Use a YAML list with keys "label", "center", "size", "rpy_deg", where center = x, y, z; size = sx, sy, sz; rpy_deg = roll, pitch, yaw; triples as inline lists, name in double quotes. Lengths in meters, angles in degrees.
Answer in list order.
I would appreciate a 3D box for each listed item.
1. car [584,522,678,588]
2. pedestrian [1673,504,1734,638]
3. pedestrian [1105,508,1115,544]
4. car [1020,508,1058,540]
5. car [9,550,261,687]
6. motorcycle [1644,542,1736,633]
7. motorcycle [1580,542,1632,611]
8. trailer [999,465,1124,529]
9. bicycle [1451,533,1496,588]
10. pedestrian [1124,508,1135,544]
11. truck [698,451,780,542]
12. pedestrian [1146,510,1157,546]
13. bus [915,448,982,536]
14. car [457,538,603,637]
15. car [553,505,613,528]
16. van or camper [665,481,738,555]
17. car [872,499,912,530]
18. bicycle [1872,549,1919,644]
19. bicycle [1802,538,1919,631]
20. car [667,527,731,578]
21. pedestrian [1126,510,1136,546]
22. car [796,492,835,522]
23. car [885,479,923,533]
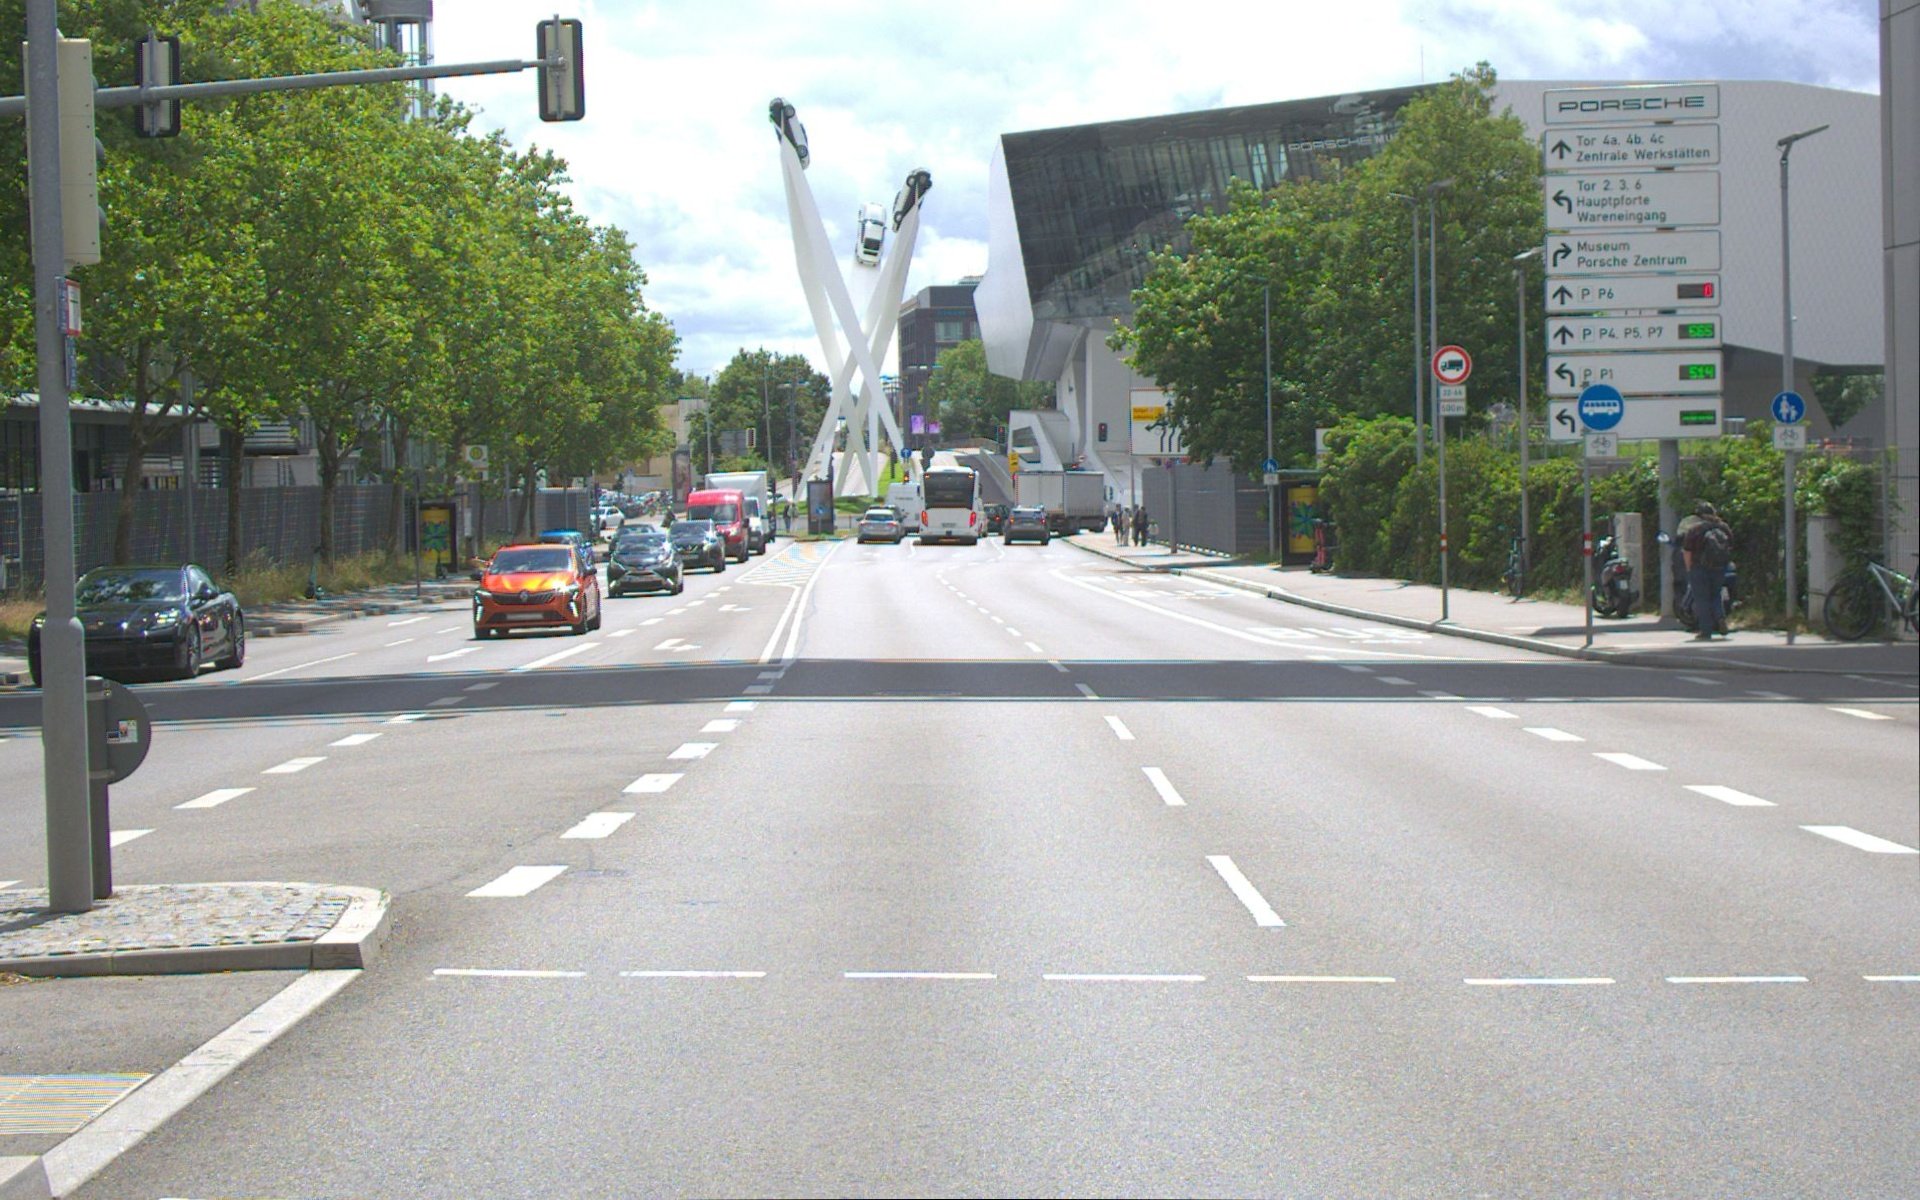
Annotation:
- label: "car"
  center: [-7.635, -1.071, 80.000]
  size: [1.769, 1.415, 3.701]
  rpy_deg: [-3, 1, 0]
- label: "pedestrian"
  center: [9.150, -0.356, 42.339]
  size: [0.533, 1.635, 0.658]
  rpy_deg: [1, 0, -6]
- label: "pedestrian"
  center: [5.976, -2.950, 137.121]
  size: [0.386, 1.416, 0.423]
  rpy_deg: [1, 0, 0]
- label: "car"
  center: [3.352, -3.248, 146.149]
  size: [1.557, 1.269, 3.701]
  rpy_deg: [-3, 1, 1]
- label: "car"
  center: [-10.219, 0.184, 42.952]
  size: [1.917, 1.483, 4.772]
  rpy_deg: [-3, 1, 0]
- label: "motorcycle"
  center: [9.549, -0.175, 45.031]
  size: [0.418, 1.162, 1.957]
  rpy_deg: [1, 1, -11]
- label: "motorcycle"
  center: [9.768, -0.355, 52.014]
  size: [0.457, 1.019, 1.912]
  rpy_deg: [1, 1, 1]
- label: "trailer"
  center: [5.160, -5.111, 172.100]
  size: [3.322, 2.984, 10.366]
  rpy_deg: [1, 1, 19]
- label: "bicycle"
  center: [9.741, -0.753, 65.272]
  size: [0.418, 1.019, 1.913]
  rpy_deg: [1, 1, -5]
- label: "pedestrian"
  center: [6.727, -2.947, 136.297]
  size: [0.386, 1.416, 0.423]
  rpy_deg: [1, 0, 0]
- label: "truck"
  center: [-8.380, -3.888, 130.846]
  size: [2.591, 3.312, 7.079]
  rpy_deg: [1, 1, 0]
- label: "pedestrian"
  center: [7.512, -2.822, 134.688]
  size: [0.386, 1.416, 0.423]
  rpy_deg: [1, 0, 0]
- label: "bus"
  center: [-0.480, -4.672, 149.973]
  size: [2.787, 3.673, 6.943]
  rpy_deg: [1, 1, 0]
- label: "car"
  center: [-6.751, -0.220, 54.265]
  size: [1.769, 1.415, 3.701]
  rpy_deg: [-3, 1, 0]
- label: "car"
  center: [-24.344, -5.398, 222.081]
  size: [1.561, 1.269, 3.692]
  rpy_deg: [-1, 2, 44]
- label: "van or camper"
  center: [-8.793, -2.804, 117.484]
  size: [2.047, 2.458, 5.595]
  rpy_deg: [0, 1, 0]
- label: "car"
  center: [-2.942, -3.682, 148.658]
  size: [1.557, 1.269, 3.701]
  rpy_deg: [-3, 1, 1]
- label: "bicycle"
  center: [11.664, -0.029, 39.547]
  size: [2.222, 1.083, 0.476]
  rpy_deg: [1, 1, 35]
- label: "bicycle"
  center: [11.173, -0.186, 40.877]
  size: [2.222, 1.083, 0.476]
  rpy_deg: [1, 1, 35]
- label: "car"
  center: [-7.793, -1.434, 102.916]
  size: [1.557, 1.443, 3.773]
  rpy_deg: [-3, 1, 0]
- label: "pedestrian"
  center: [6.698, -2.815, 134.649]
  size: [0.386, 1.416, 0.423]
  rpy_deg: [1, 0, 0]
- label: "car"
  center: [-6.526, -4.180, 155.430]
  size: [1.557, 1.269, 3.701]
  rpy_deg: [-3, 1, 0]
- label: "car"
  center: [-2.806, -4.667, 171.034]
  size: [1.843, 2.614, 4.000]
  rpy_deg: [1, 1, -1]
